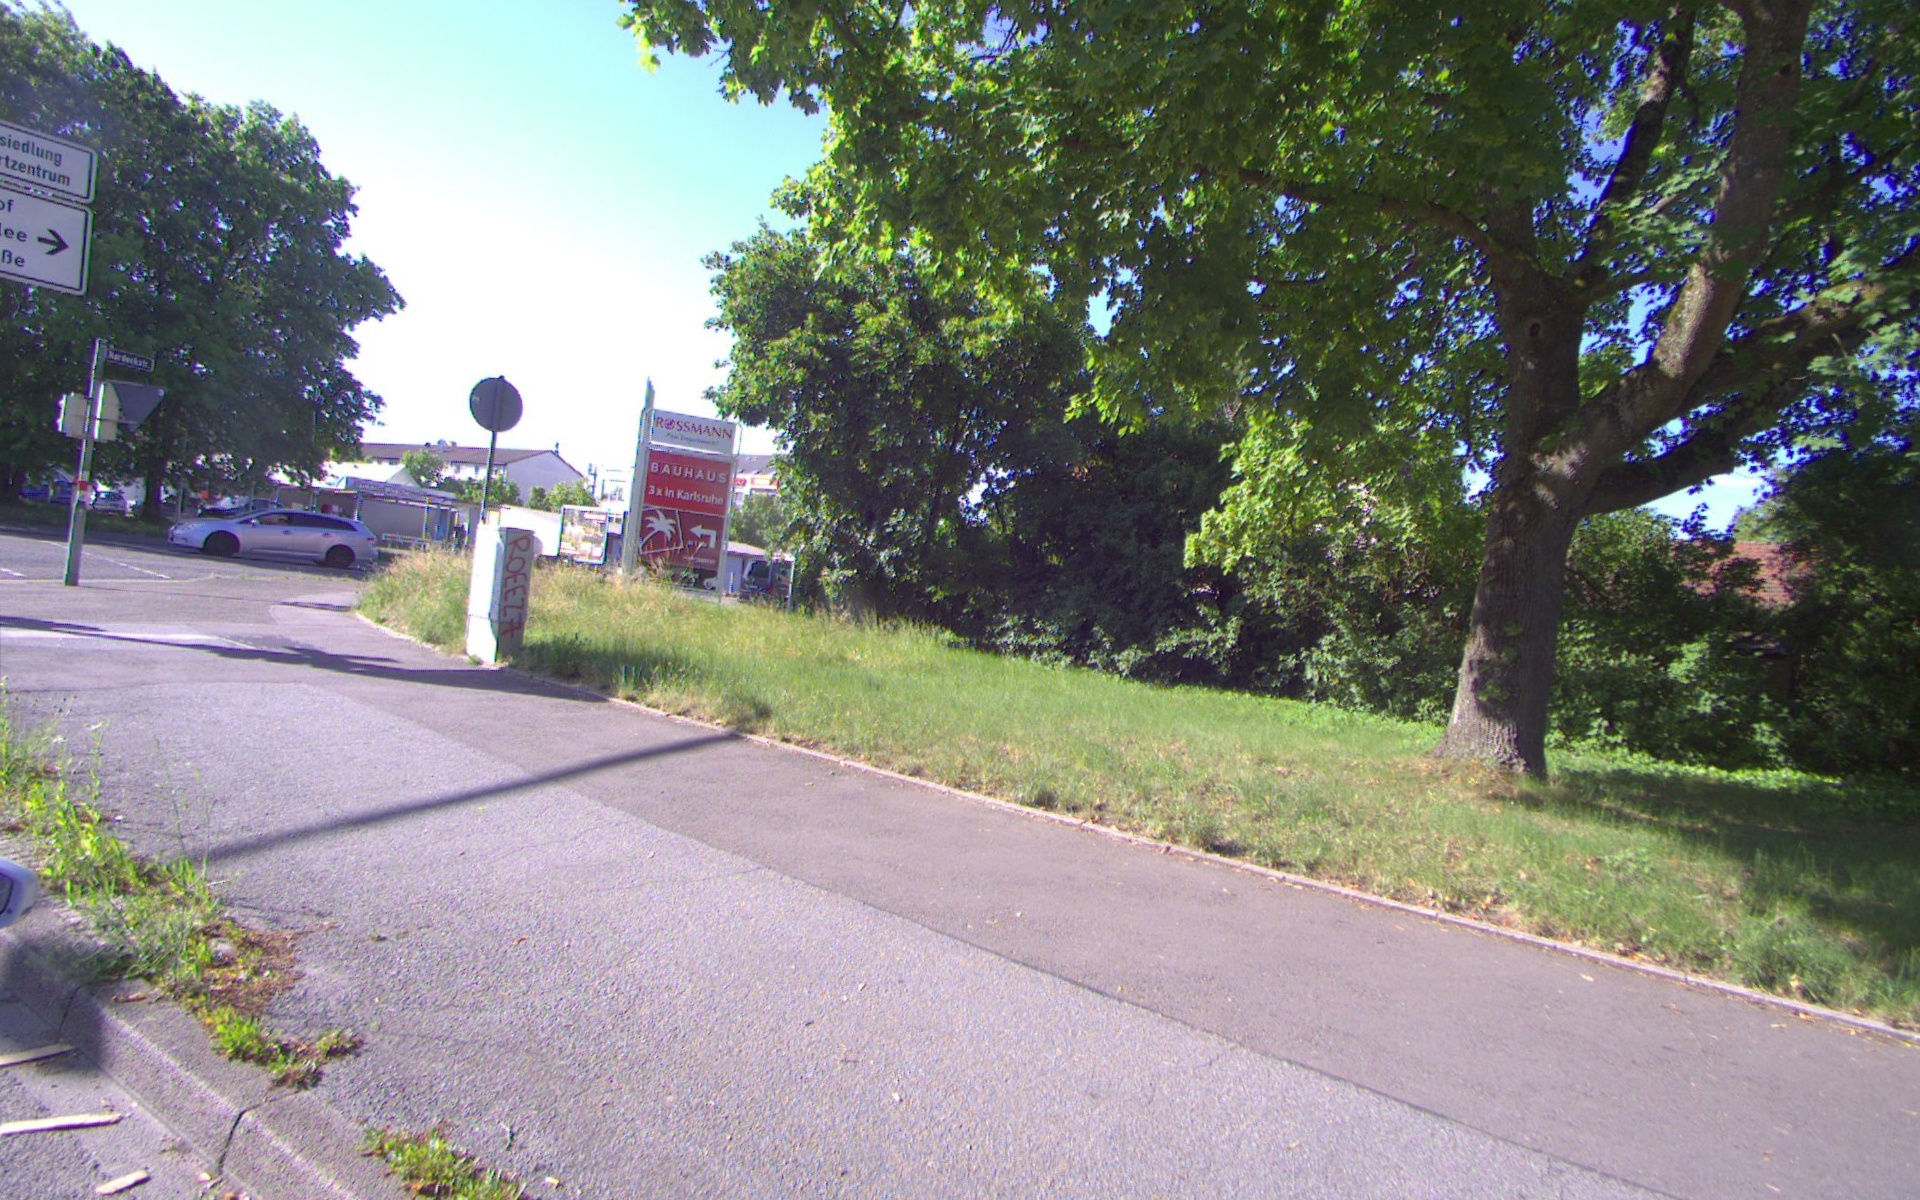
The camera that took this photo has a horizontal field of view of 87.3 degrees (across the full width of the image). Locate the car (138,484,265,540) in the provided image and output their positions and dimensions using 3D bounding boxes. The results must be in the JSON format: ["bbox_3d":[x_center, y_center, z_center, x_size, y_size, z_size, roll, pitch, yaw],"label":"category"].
[{"bbox_3d":[-32.331,-3.726,43.020,1.962,1.772,4.001,7,0,9],"label":"car"}]

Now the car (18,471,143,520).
[{"bbox_3d":[-39.173,-4.623,44.933,1.712,1.537,3.902,7,0,9],"label":"car"}]

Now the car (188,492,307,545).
[{"bbox_3d":[-30.290,-3.422,42.918,1.712,1.701,4.001,7,0,9],"label":"car"}]

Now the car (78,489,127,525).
[{"bbox_3d":[-49.670,-5.395,58.248,3.948,1.701,1.735,7,1,45],"label":"car"}]

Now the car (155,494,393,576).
[{"bbox_3d":[-18.642,-1.730,27.527,1.973,1.504,4.994,7,0,43],"label":"car"}]

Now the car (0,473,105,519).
[{"bbox_3d":[-41.983,-4.764,46.158,1.712,1.537,3.902,7,0,9],"label":"car"}]

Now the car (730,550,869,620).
[{"bbox_3d":[-5.771,-0.499,36.758,1.888,2.017,4.998,7,0,36],"label":"car"}]
